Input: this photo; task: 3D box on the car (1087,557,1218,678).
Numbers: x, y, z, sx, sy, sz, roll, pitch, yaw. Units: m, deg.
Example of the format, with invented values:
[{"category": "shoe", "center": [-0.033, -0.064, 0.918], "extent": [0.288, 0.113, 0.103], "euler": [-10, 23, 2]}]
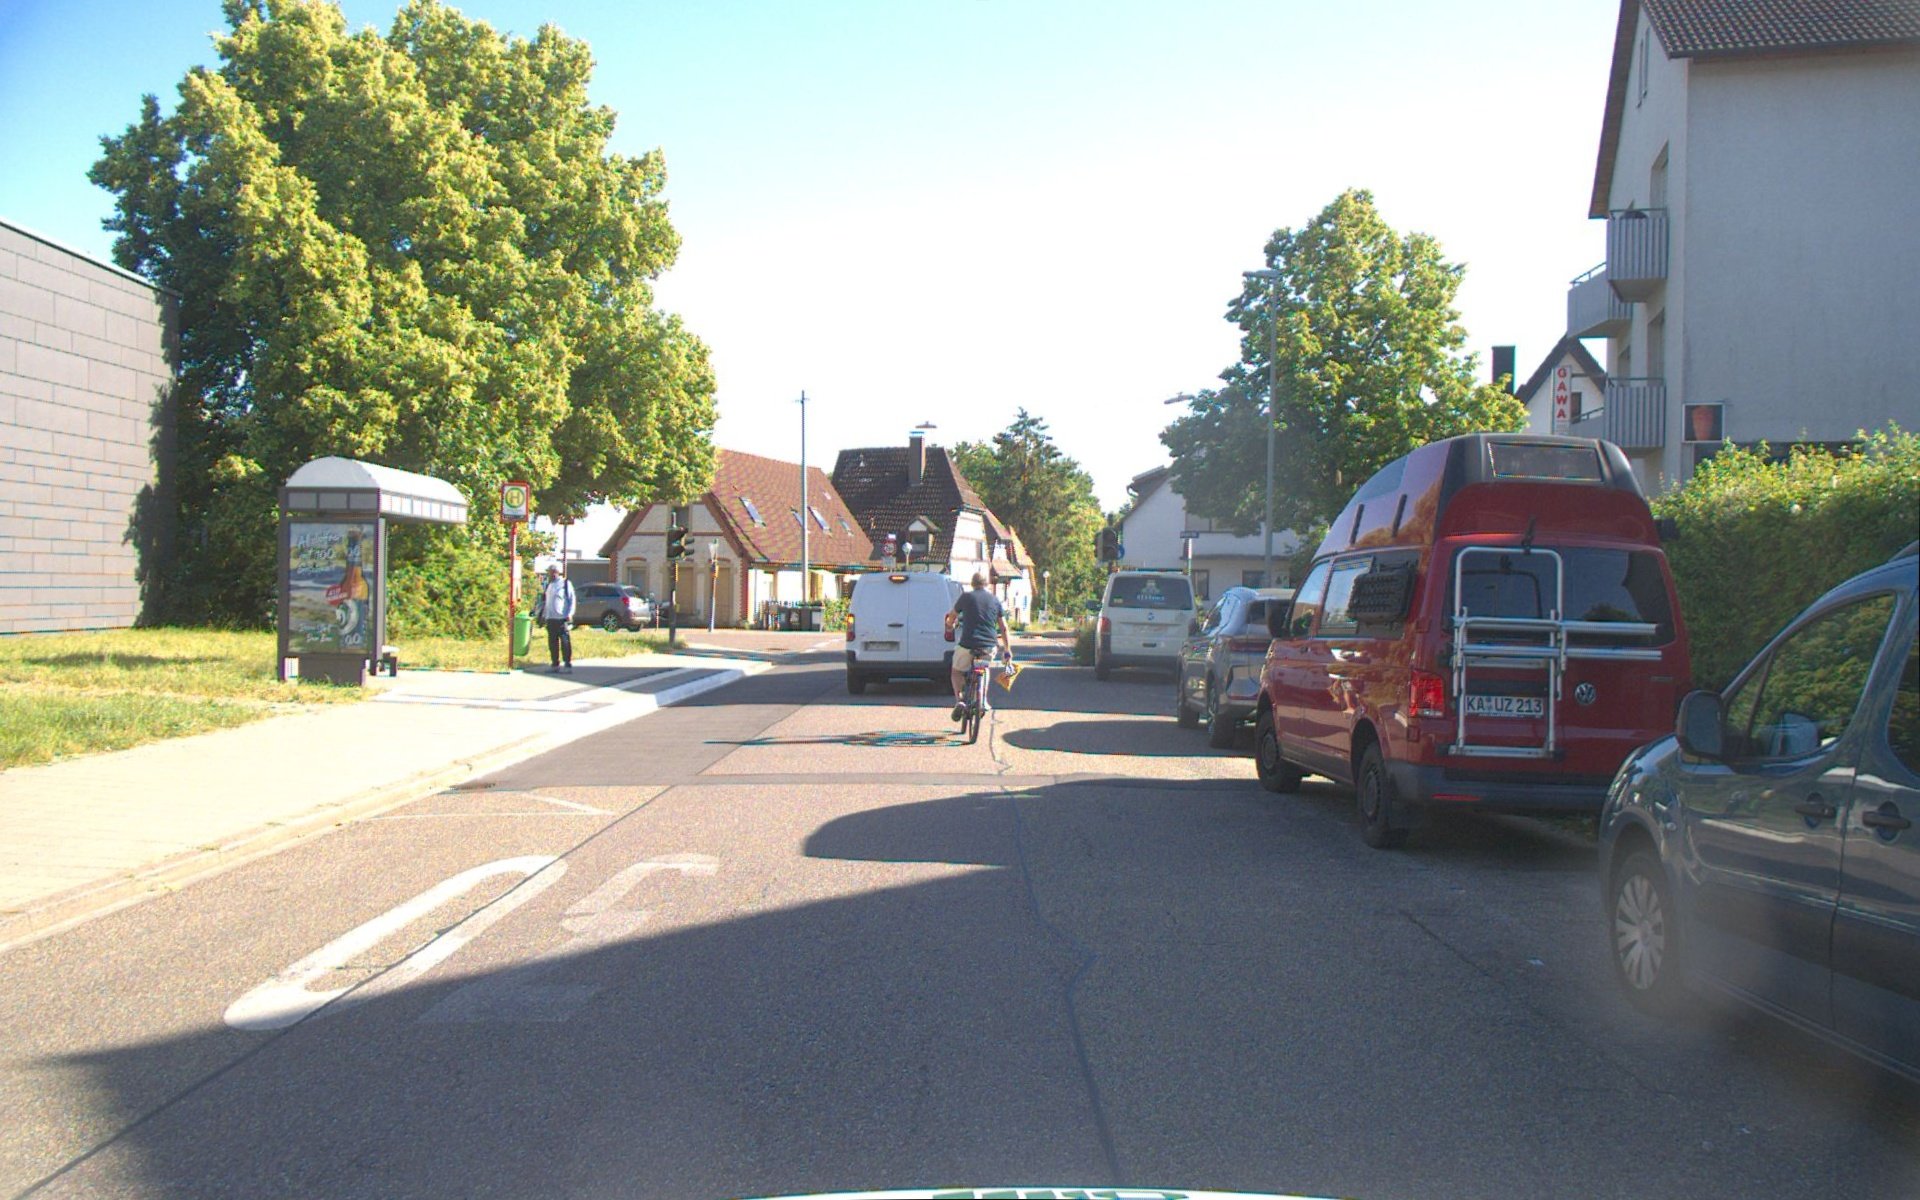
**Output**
[{"category": "car", "center": [3.588, 0.314, 31.670], "extent": [1.953, 2.115, 4.577], "euler": [1, 0, 0]}]

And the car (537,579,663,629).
[{"category": "car", "center": [-13.251, 0.143, 60.866], "extent": [4.134, 1.755, 1.945], "euler": [1, 0, 21]}]

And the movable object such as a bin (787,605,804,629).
[{"category": "movable object such as a bin", "center": [-6.335, 0.658, 63.713], "extent": [0.404, 0.921, 0.626], "euler": [1, 1, 19]}]

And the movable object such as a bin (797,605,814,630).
[{"category": "movable object such as a bin", "center": [-5.927, 0.666, 63.556], "extent": [0.402, 0.941, 0.626], "euler": [1, 0, 19]}]

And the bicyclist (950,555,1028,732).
[{"category": "bicyclist", "center": [0.300, 0.448, 17.578], "extent": [0.749, 1.820, 0.852], "euler": [1, 0, -2]}]

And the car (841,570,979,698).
[{"category": "car", "center": [-0.718, 0.460, 26.810], "extent": [1.916, 1.880, 4.562], "euler": [0, 1, 2]}]

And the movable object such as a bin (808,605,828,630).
[{"category": "movable object such as a bin", "center": [-5.454, 0.666, 63.386], "extent": [0.544, 0.941, 0.626], "euler": [1, 0, 20]}]

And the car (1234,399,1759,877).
[{"category": "car", "center": [3.517, 0.198, 12.099], "extent": [1.918, 2.690, 5.221], "euler": [2, 0, -2]}]

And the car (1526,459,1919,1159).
[{"category": "car", "center": [3.512, 0.590, 5.194], "extent": [1.819, 1.880, 4.560], "euler": [3, 1, 0]}]

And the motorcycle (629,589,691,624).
[{"category": "motorcycle", "center": [-11.670, 0.243, 64.296], "extent": [2.196, 1.317, 0.883], "euler": [0, 3, 21]}]

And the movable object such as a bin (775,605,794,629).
[{"category": "movable object such as a bin", "center": [-6.785, 0.653, 63.898], "extent": [0.497, 0.941, 0.626], "euler": [1, 0, 20]}]

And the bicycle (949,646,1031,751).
[{"category": "bicycle", "center": [0.293, 1.010, 17.616], "extent": [0.759, 0.956, 2.290], "euler": [0, 0, -2]}]

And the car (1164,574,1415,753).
[{"category": "car", "center": [3.627, 0.628, 19.058], "extent": [1.917, 1.768, 4.576], "euler": [1, 0, 0]}]

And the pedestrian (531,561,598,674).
[{"category": "pedestrian", "center": [-6.647, 0.286, 27.821], "extent": [0.702, 1.834, 0.770], "euler": [3, 1, 26]}]
